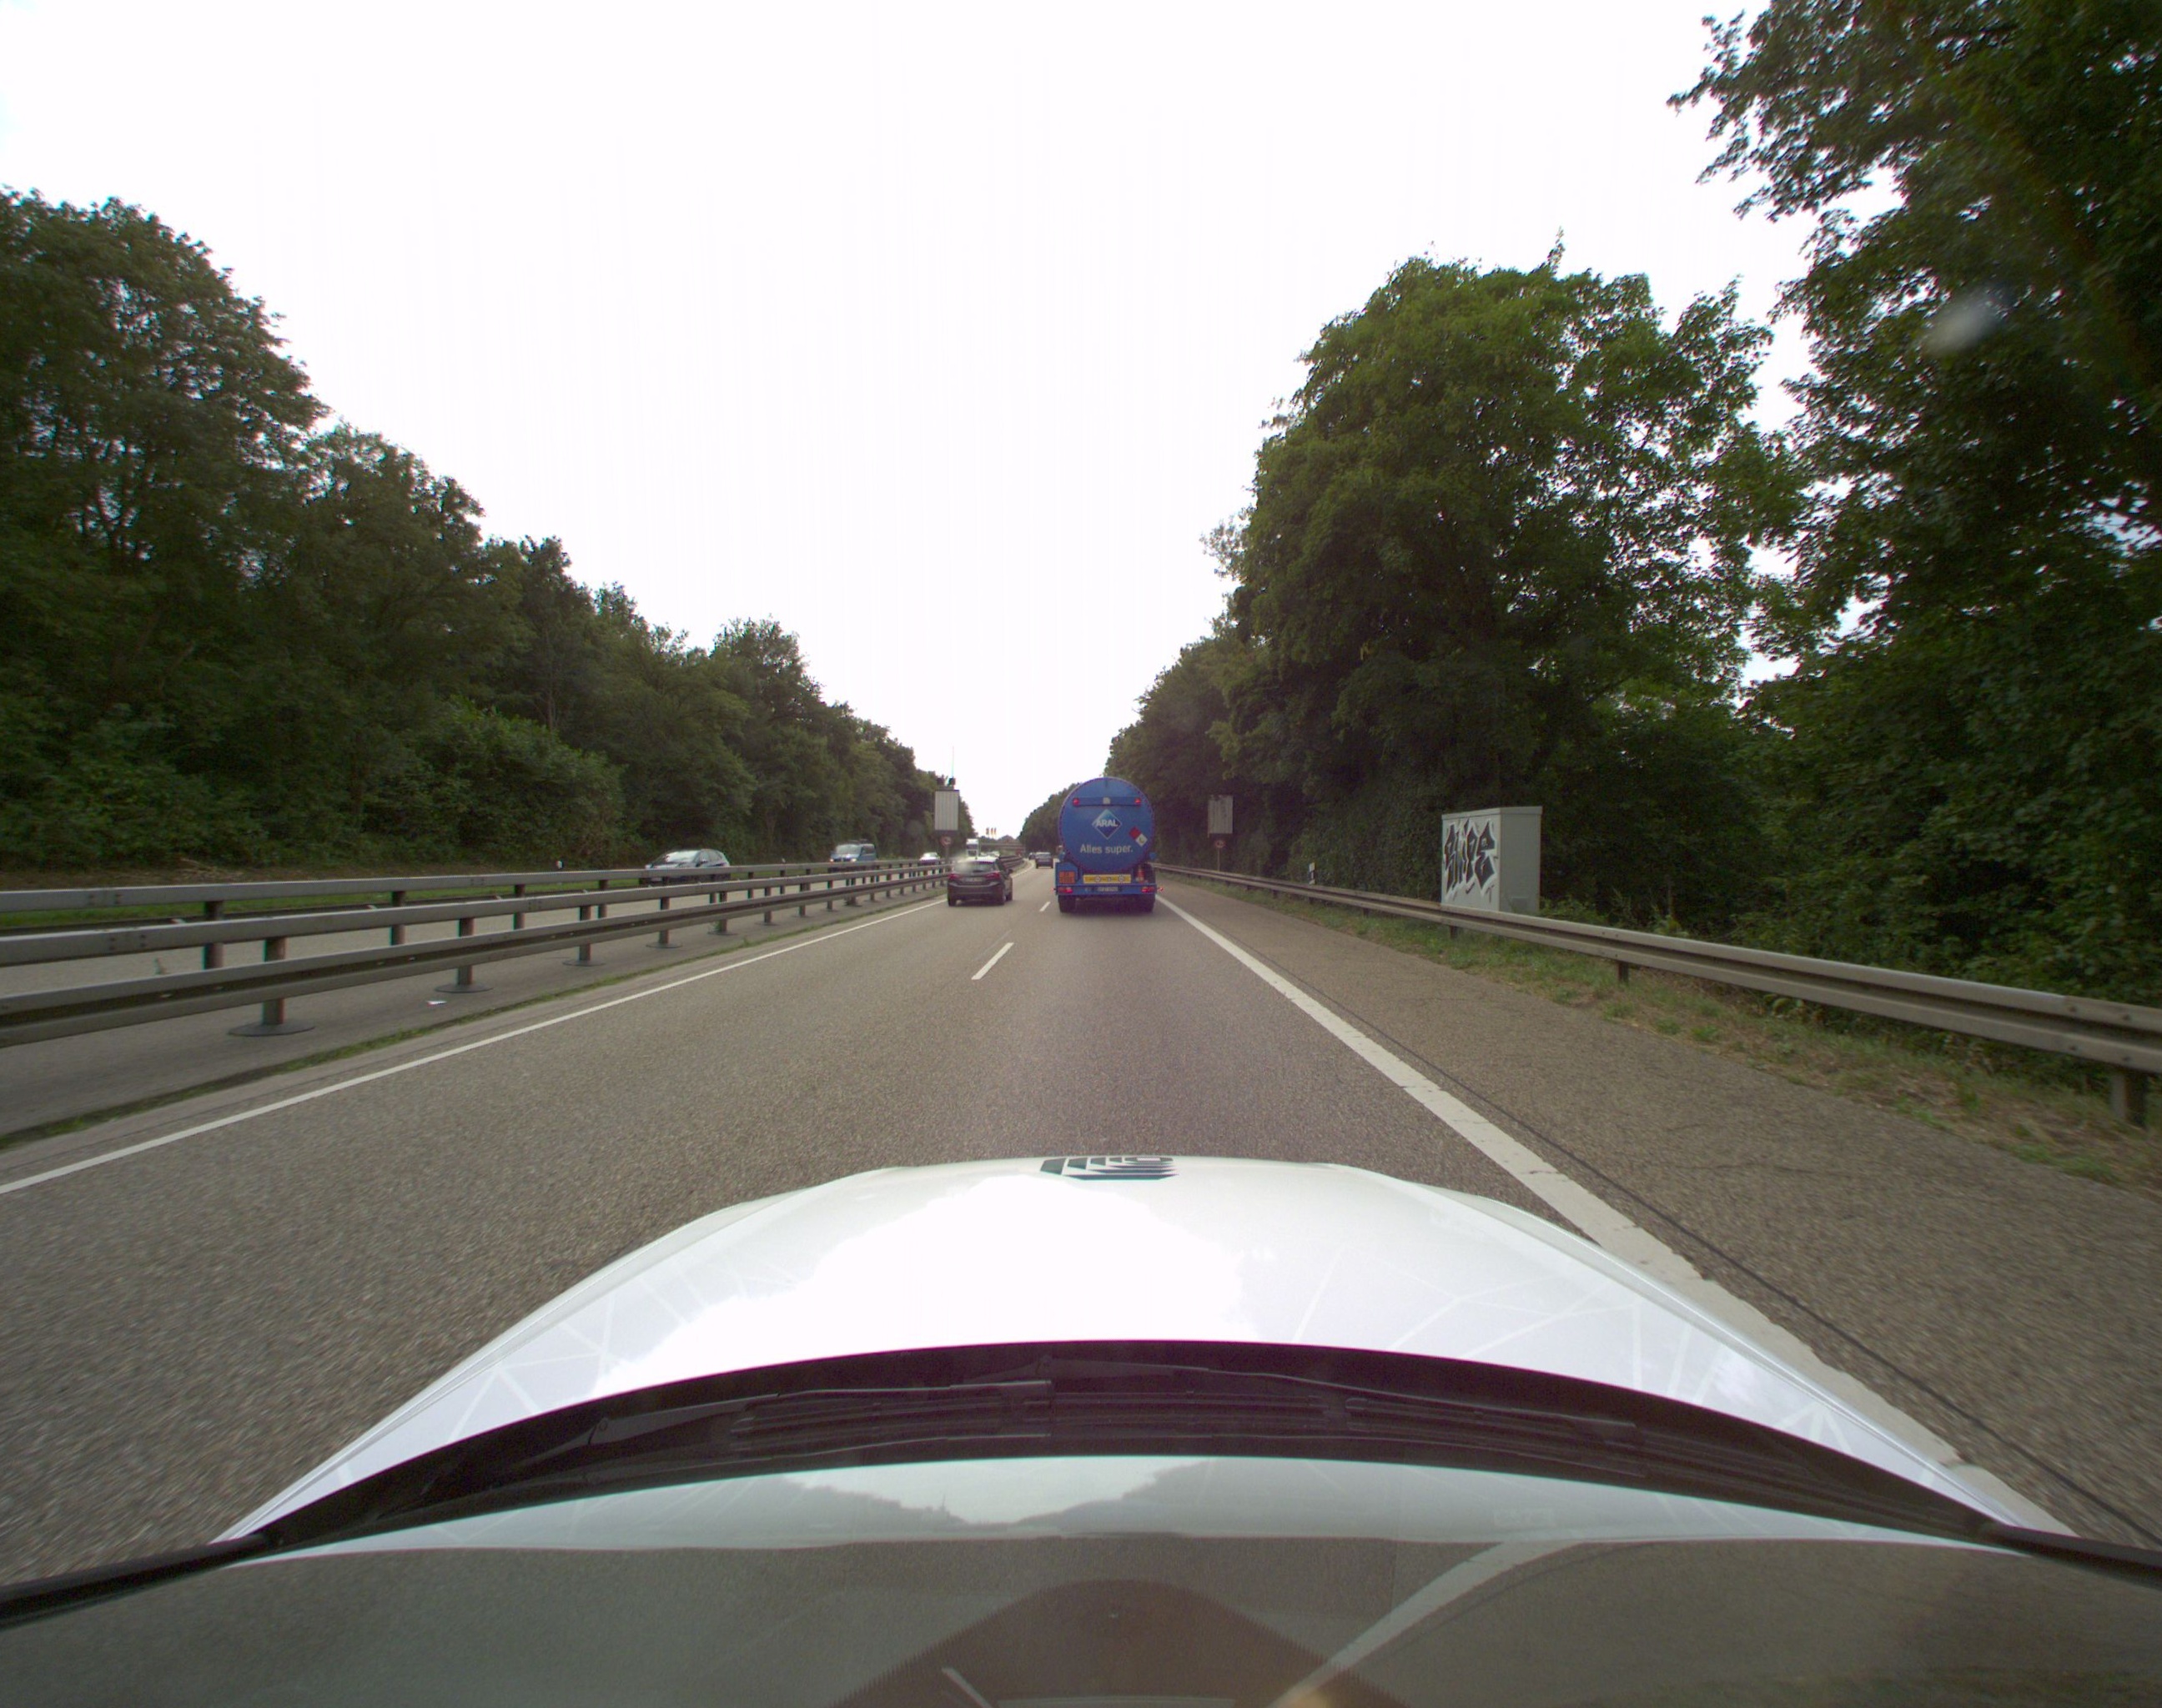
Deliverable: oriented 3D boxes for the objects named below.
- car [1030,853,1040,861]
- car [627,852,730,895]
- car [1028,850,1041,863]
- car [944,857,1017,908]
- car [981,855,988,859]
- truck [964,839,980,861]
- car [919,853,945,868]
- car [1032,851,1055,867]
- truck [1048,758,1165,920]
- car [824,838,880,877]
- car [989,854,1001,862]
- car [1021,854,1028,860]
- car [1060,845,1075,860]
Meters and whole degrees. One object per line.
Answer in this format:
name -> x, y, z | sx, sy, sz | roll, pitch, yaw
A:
car -> -9.807, 0.592, 173.512 | 1.950, 1.567, 3.996 | -1, 0, -3
car -> -14.909, 0.679, 30.429 | 1.688, 1.466, 4.090 | -1, 0, 1
car -> -7.884, 0.410, 137.842 | 1.991, 2.014, 3.991 | -1, 0, -6
car -> -3.106, 0.844, 26.037 | 1.821, 1.458, 4.637 | -1, 0, -1
car -> -28.398, 0.949, 239.801 | 1.737, 1.189, 4.287 | -1, 0, -2
truck -> -21.288, -0.757, 159.122 | 2.686, 4.063, 5.317 | -1, 0, -3
car -> -15.503, 0.672, 84.854 | 1.988, 1.481, 4.130 | -1, 0, -1
car -> -3.827, 0.524, 83.615 | 1.818, 1.609, 4.172 | -1, 0, 5
truck -> 0.668, -0.368, 23.364 | 2.746, 3.846, 7.689 | -1, 0, 1
car -> -14.600, 0.213, 52.202 | 1.928, 2.321, 5.306 | -1, 0, 1
car -> -16.367, 0.728, 154.778 | 1.787, 1.549, 4.126 | -1, 0, -1
car -> -15.965, 0.847, 230.175 | 1.989, 1.552, 3.994 | -1, 0, -4
car -> -2.080, -0.148, 125.916 | 1.990, 2.244, 3.992 | -1, 0, -5
